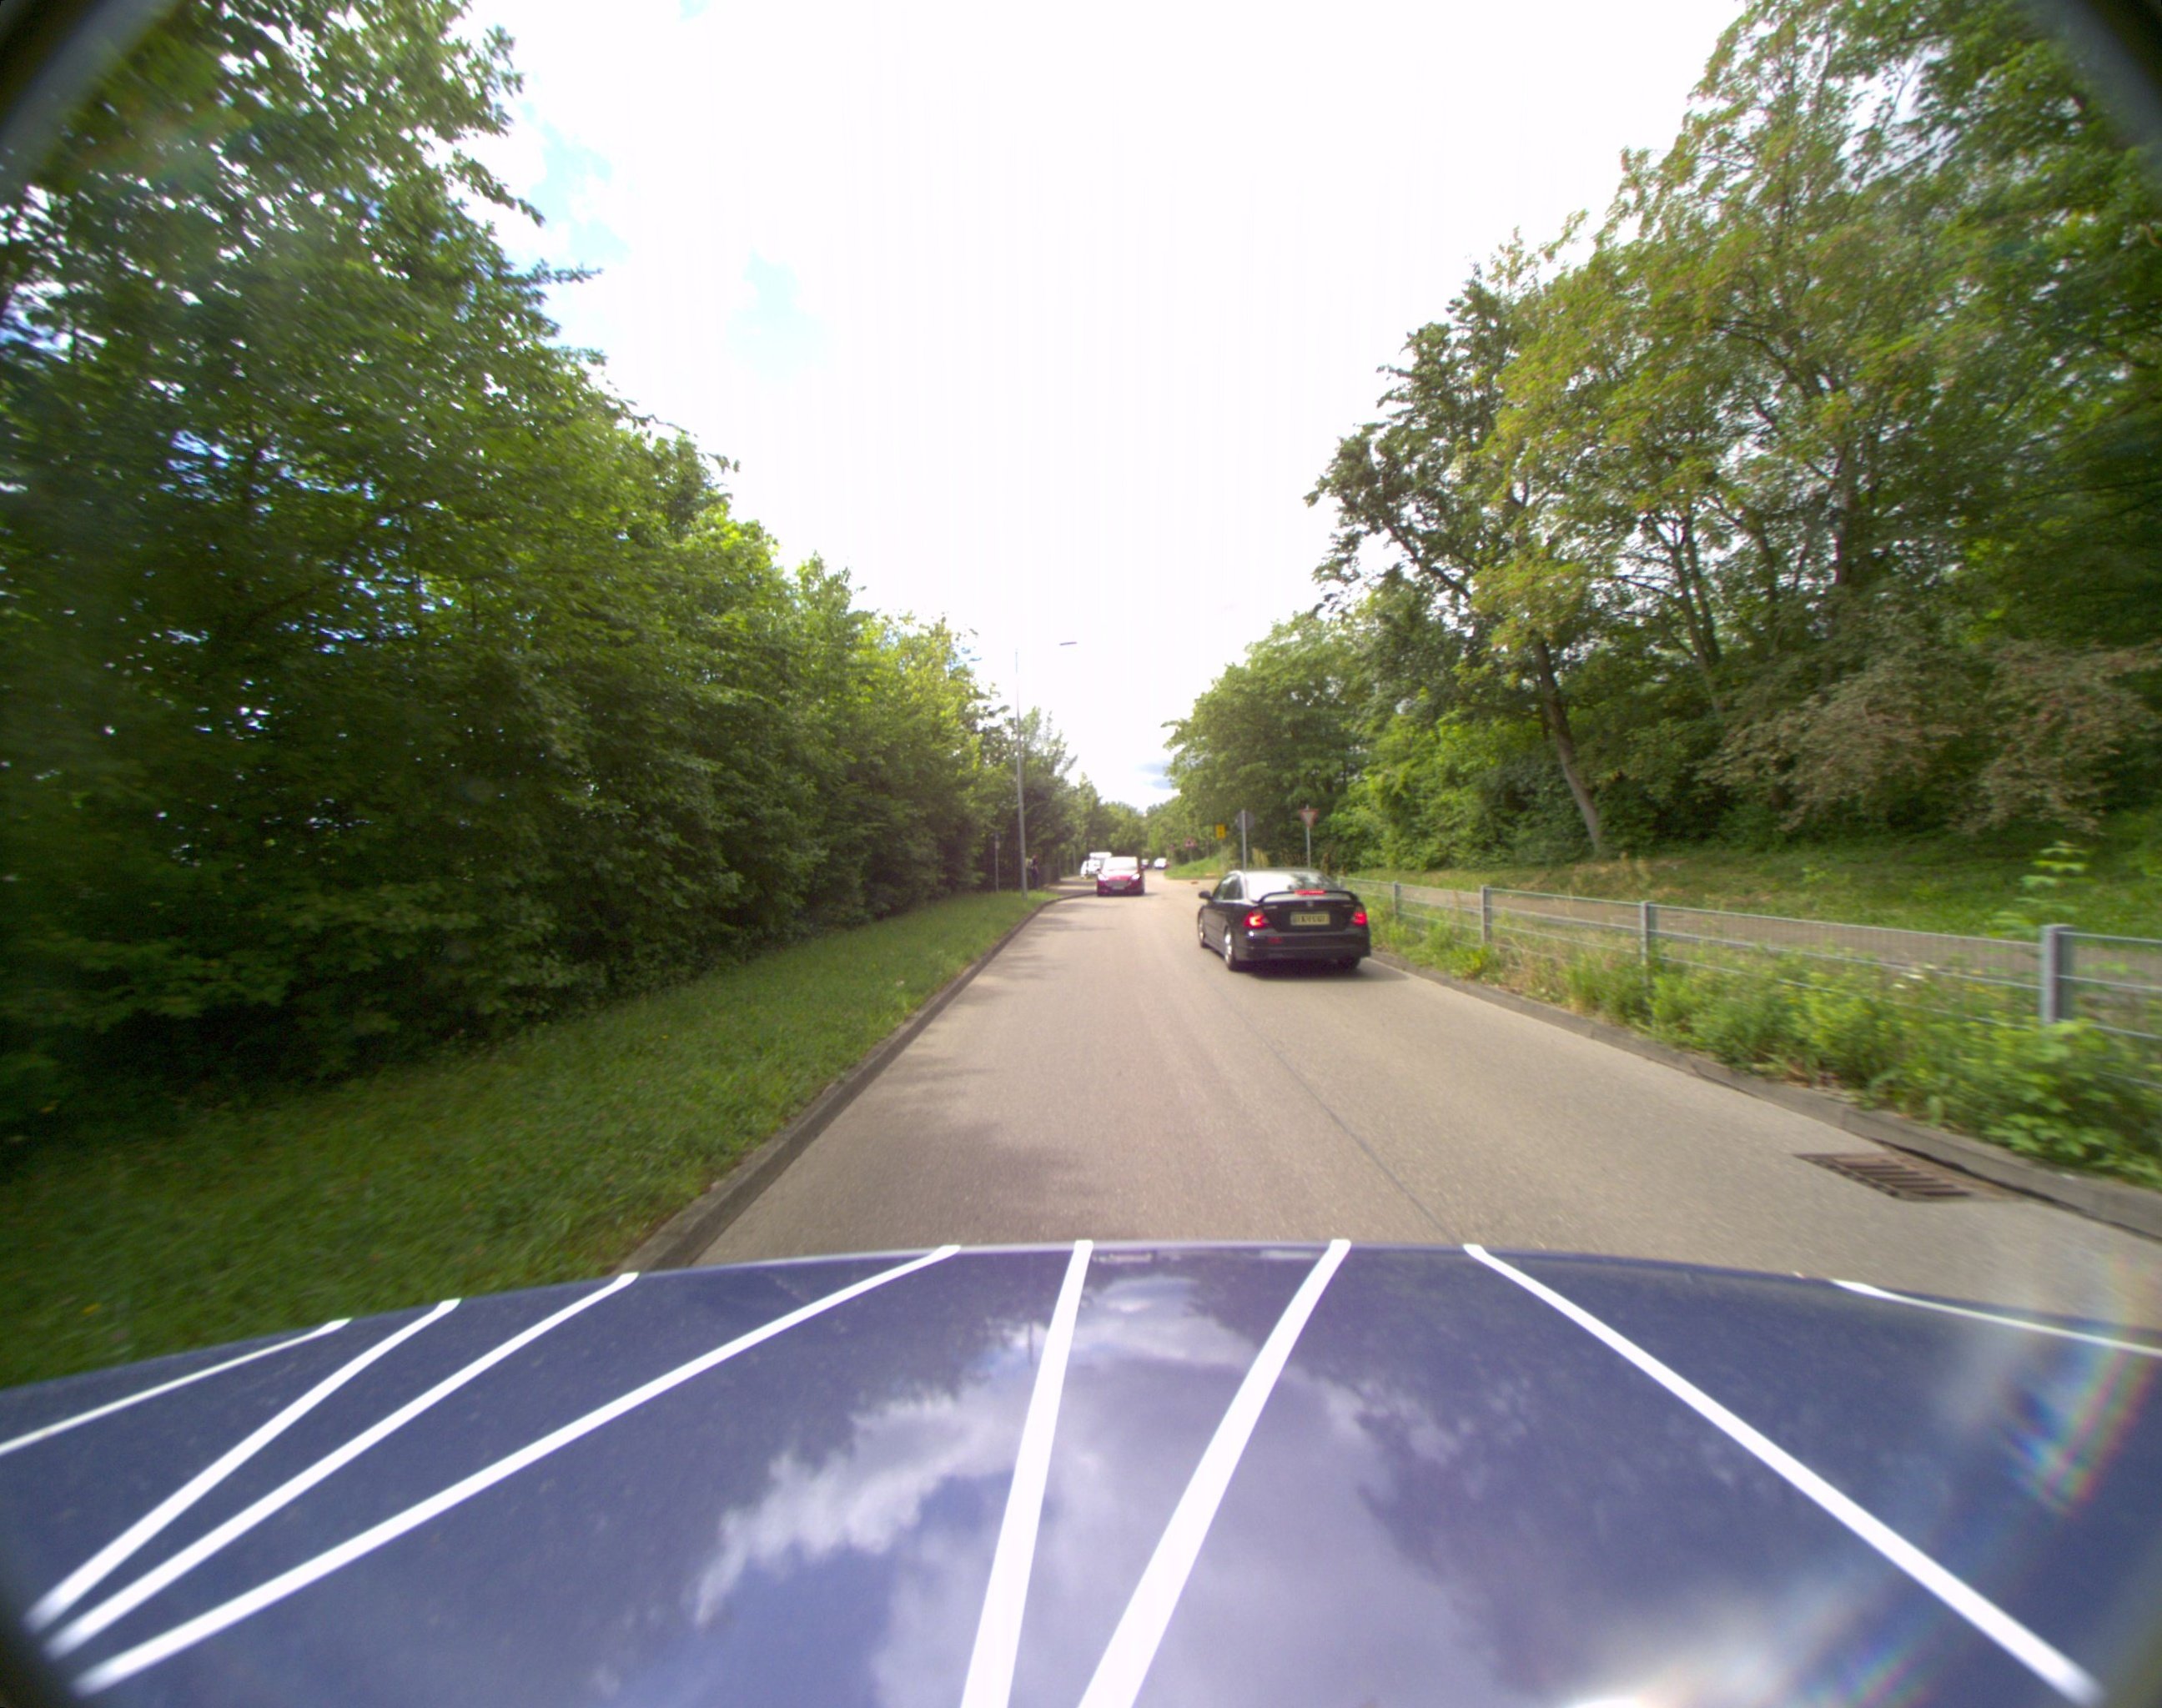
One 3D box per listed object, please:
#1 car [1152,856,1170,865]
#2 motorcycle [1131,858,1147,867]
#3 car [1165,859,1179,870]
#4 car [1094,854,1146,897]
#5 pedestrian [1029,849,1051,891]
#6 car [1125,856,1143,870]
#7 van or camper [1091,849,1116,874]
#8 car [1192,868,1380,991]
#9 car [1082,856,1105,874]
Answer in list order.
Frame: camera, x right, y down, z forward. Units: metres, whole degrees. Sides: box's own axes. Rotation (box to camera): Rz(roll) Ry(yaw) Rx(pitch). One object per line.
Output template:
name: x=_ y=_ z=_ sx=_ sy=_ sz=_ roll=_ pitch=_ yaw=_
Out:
car: x=14.148 y=1.077 z=134.153 sx=1.864 sy=1.469 sz=4.908 roll=1 pitch=1 yaw=20
motorcycle: x=9.062 y=1.325 z=119.185 sx=2.305 sy=1.467 sz=0.977 roll=2 pitch=2 yaw=42
car: x=14.018 y=1.559 z=117.046 sx=1.846 sy=1.649 sz=4.225 roll=-1 pitch=-1 yaw=11
car: x=1.752 y=0.871 z=32.839 sx=1.911 sy=1.689 sz=4.389 roll=-1 pitch=0 yaw=7
pedestrian: x=-1.744 y=0.663 z=32.485 sx=0.587 sy=1.773 sz=0.684 roll=0 pitch=1 yaw=44
car: x=6.214 y=1.063 z=88.545 sx=1.795 sy=1.500 sz=4.115 roll=2 pitch=1 yaw=7
van or camper: x=2.472 y=0.768 z=81.811 sx=2.359 sy=2.539 sz=5.077 roll=0 pitch=0 yaw=6
car: x=2.695 y=0.924 z=10.951 sx=1.697 sy=1.341 sz=4.095 roll=-1 pitch=0 yaw=2
car: x=1.147 y=0.955 z=68.371 sx=1.809 sy=1.590 sz=4.373 roll=0 pitch=-1 yaw=4
